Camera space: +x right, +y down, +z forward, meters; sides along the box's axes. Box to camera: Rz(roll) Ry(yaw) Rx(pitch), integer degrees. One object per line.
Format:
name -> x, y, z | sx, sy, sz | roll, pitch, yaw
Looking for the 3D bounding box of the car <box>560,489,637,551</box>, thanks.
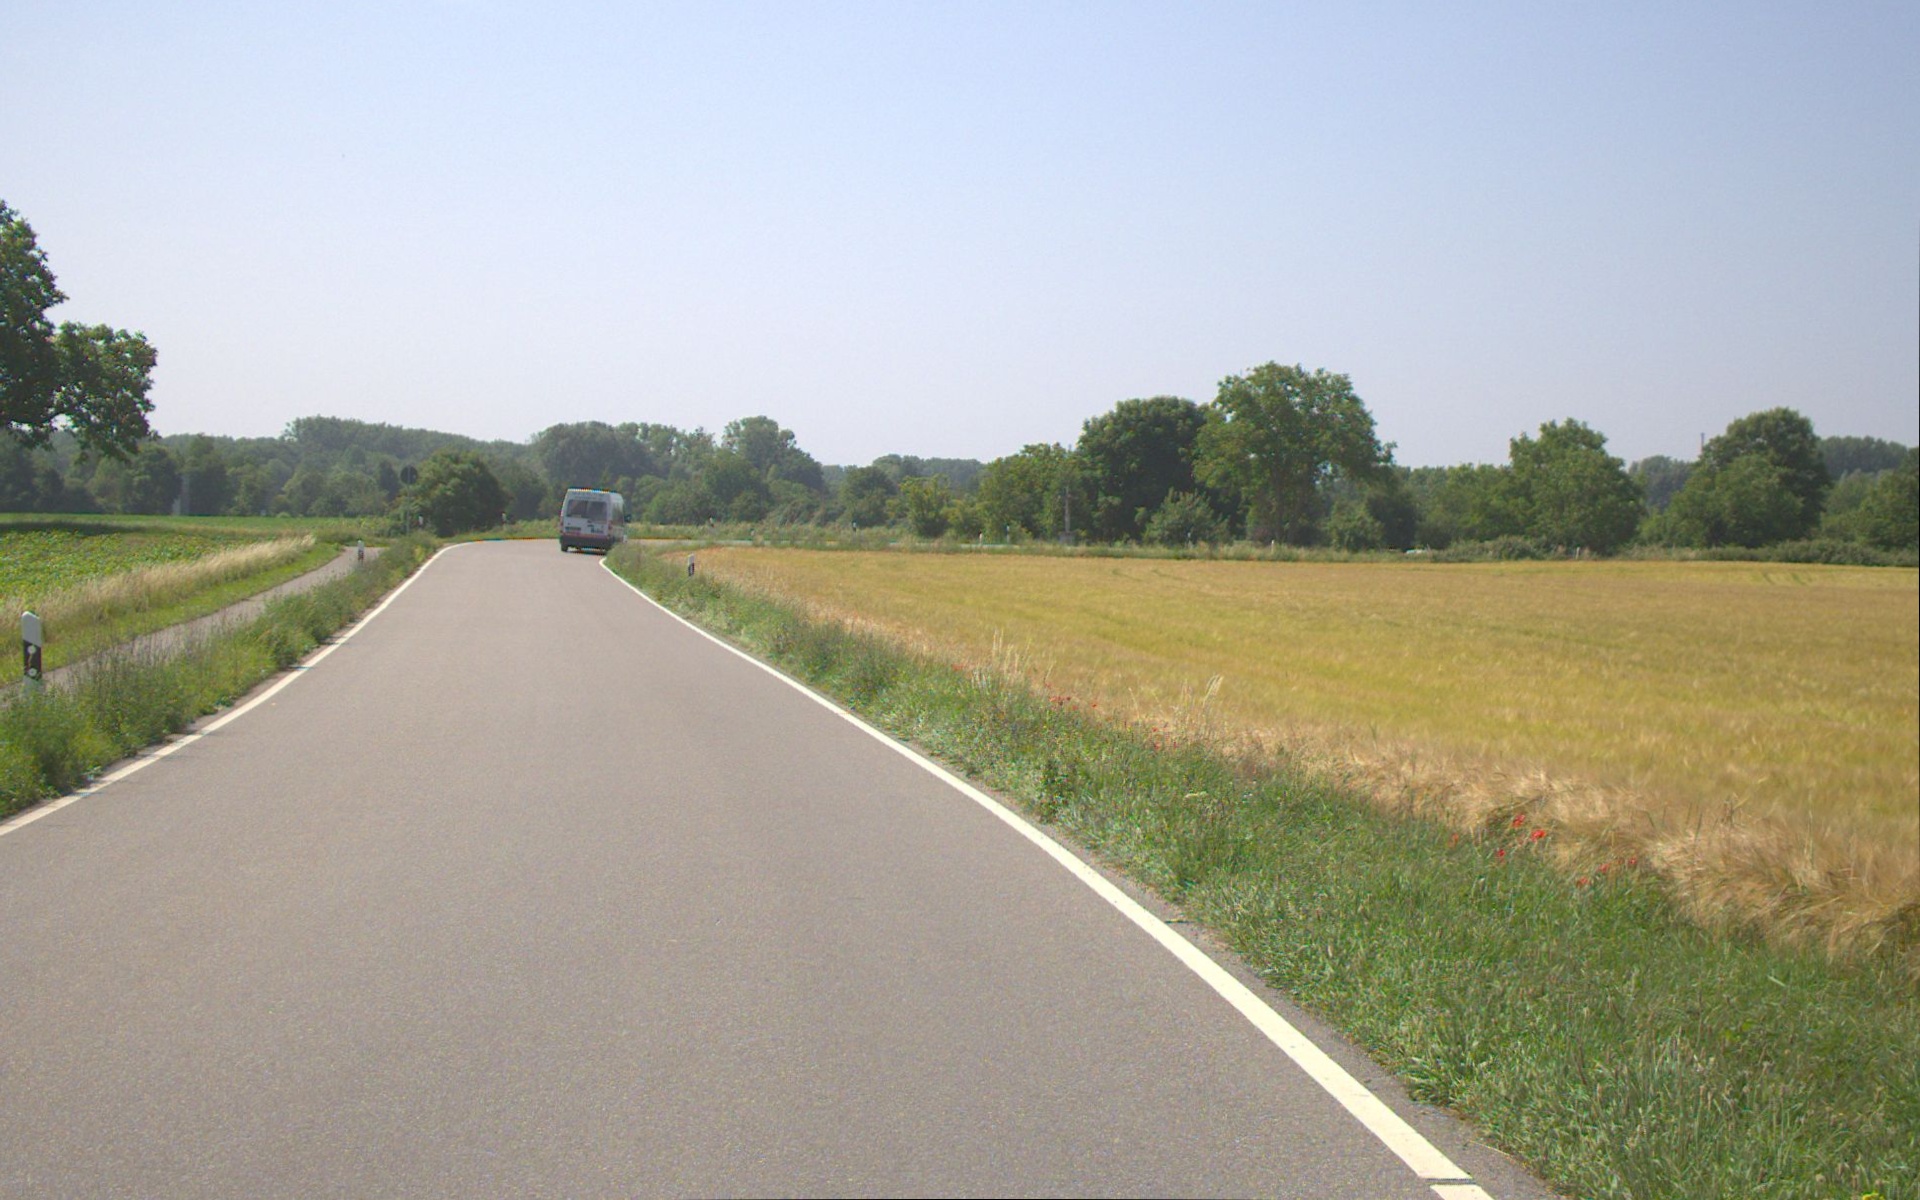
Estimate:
car -> -14.200, -3.148, 135.347 | 2.104, 2.359, 5.686 | 1, 1, 3
